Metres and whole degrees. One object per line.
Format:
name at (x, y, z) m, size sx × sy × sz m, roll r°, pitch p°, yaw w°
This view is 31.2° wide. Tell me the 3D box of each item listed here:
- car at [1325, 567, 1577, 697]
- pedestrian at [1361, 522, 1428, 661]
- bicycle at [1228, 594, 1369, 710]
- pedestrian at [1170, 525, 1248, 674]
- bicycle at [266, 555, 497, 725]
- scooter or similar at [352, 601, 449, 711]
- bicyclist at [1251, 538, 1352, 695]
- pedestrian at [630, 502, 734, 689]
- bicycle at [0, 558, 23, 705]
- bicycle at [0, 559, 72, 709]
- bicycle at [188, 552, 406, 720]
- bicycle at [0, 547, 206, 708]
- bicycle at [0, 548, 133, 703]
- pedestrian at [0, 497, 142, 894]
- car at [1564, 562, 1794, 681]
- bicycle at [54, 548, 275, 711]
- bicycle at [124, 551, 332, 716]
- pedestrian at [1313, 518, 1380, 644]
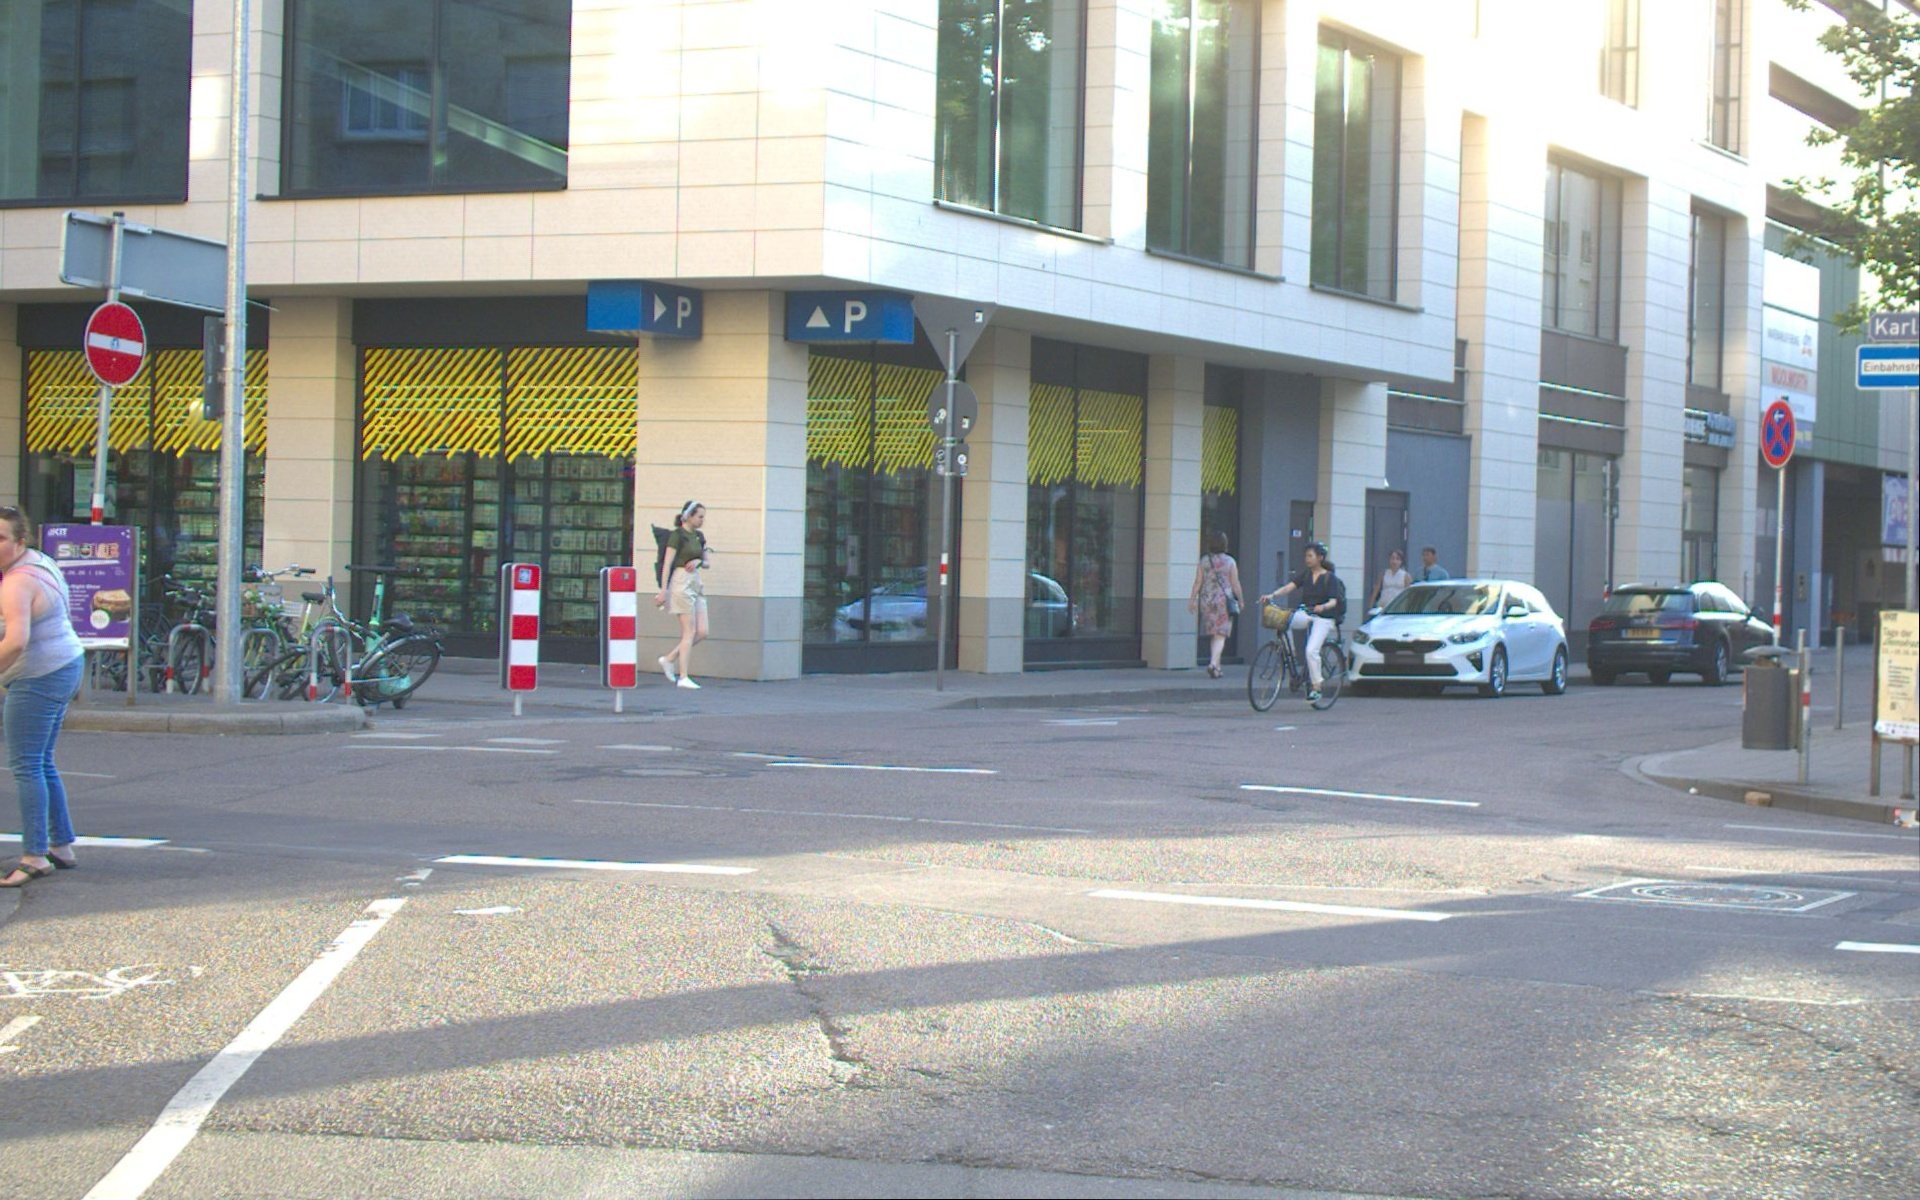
car at (6.040, 0.373, 41.876) m, size 1.780 × 1.448 × 4.224 m, roll 2°, pitch 1°, yaw 26°
pedestrian at (5.850, -0.118, 46.263) m, size 0.673 × 1.830 × 0.646 m, roll 2°, pitch 1°, yaw 25°
bicycle at (3.462, 0.529, 35.043) m, size 0.665 × 1.134 × 1.818 m, roll 2°, pitch 0°, yaw 32°
pedestrian at (2.963, -0.004, 40.833) m, size 0.673 × 1.738 × 0.646 m, roll 2°, pitch 0°, yaw 28°
bicycle at (-4.478, 0.311, 26.784) m, size 0.664 × 1.250 × 2.138 m, roll 2°, pitch 0°, yaw 24°
scooter or similar at (-4.617, 0.459, 28.387) m, size 0.387 × 0.881 × 0.769 m, roll 2°, pitch 0°, yaw 26°
bicyclist at (3.486, 0.171, 35.069) m, size 0.659 × 1.565 × 0.861 m, roll 2°, pitch 0°, yaw 32°
pedestrian at (-2.607, -0.052, 32.219) m, size 0.635 × 1.717 × 0.845 m, roll 1°, pitch 1°, yaw -28°
bicycle at (-8.774, 0.252, 28.898) m, size 0.512 × 1.250 × 1.976 m, roll 2°, pitch 0°, yaw 26°
bicycle at (-8.279, 0.272, 28.612) m, size 0.512 × 1.250 × 1.976 m, roll 2°, pitch 0°, yaw 26°
bicycle at (-5.192, 0.285, 27.068) m, size 0.581 × 1.250 × 2.041 m, roll 2°, pitch 0°, yaw 24°
bicycle at (-6.990, 0.224, 27.978) m, size 0.512 × 1.250 × 1.976 m, roll 2°, pitch 0°, yaw 26°
bicycle at (-7.679, 0.205, 28.359) m, size 0.512 × 1.250 × 1.976 m, roll 2°, pitch 0°, yaw 25°
pedestrian at (-3.944, 0.383, 14.322) m, size 0.802 × 1.607 × 0.734 m, roll 1°, pitch 0°, yaw -32°
car at (10.493, 0.296, 49.912) m, size 1.886 × 1.592 × 4.681 m, roll 2°, pitch 1°, yaw 30°
bicycle at (-6.356, 0.241, 27.557) m, size 0.512 × 1.250 × 1.976 m, roll 2°, pitch 0°, yaw 28°
bicycle at (-5.790, 0.268, 27.297) m, size 0.512 × 1.250 × 1.976 m, roll 2°, pitch 0°, yaw 24°
pedestrian at (5.239, -0.255, 46.565) m, size 0.673 × 1.669 × 0.646 m, roll 2°, pitch 1°, yaw 25°
